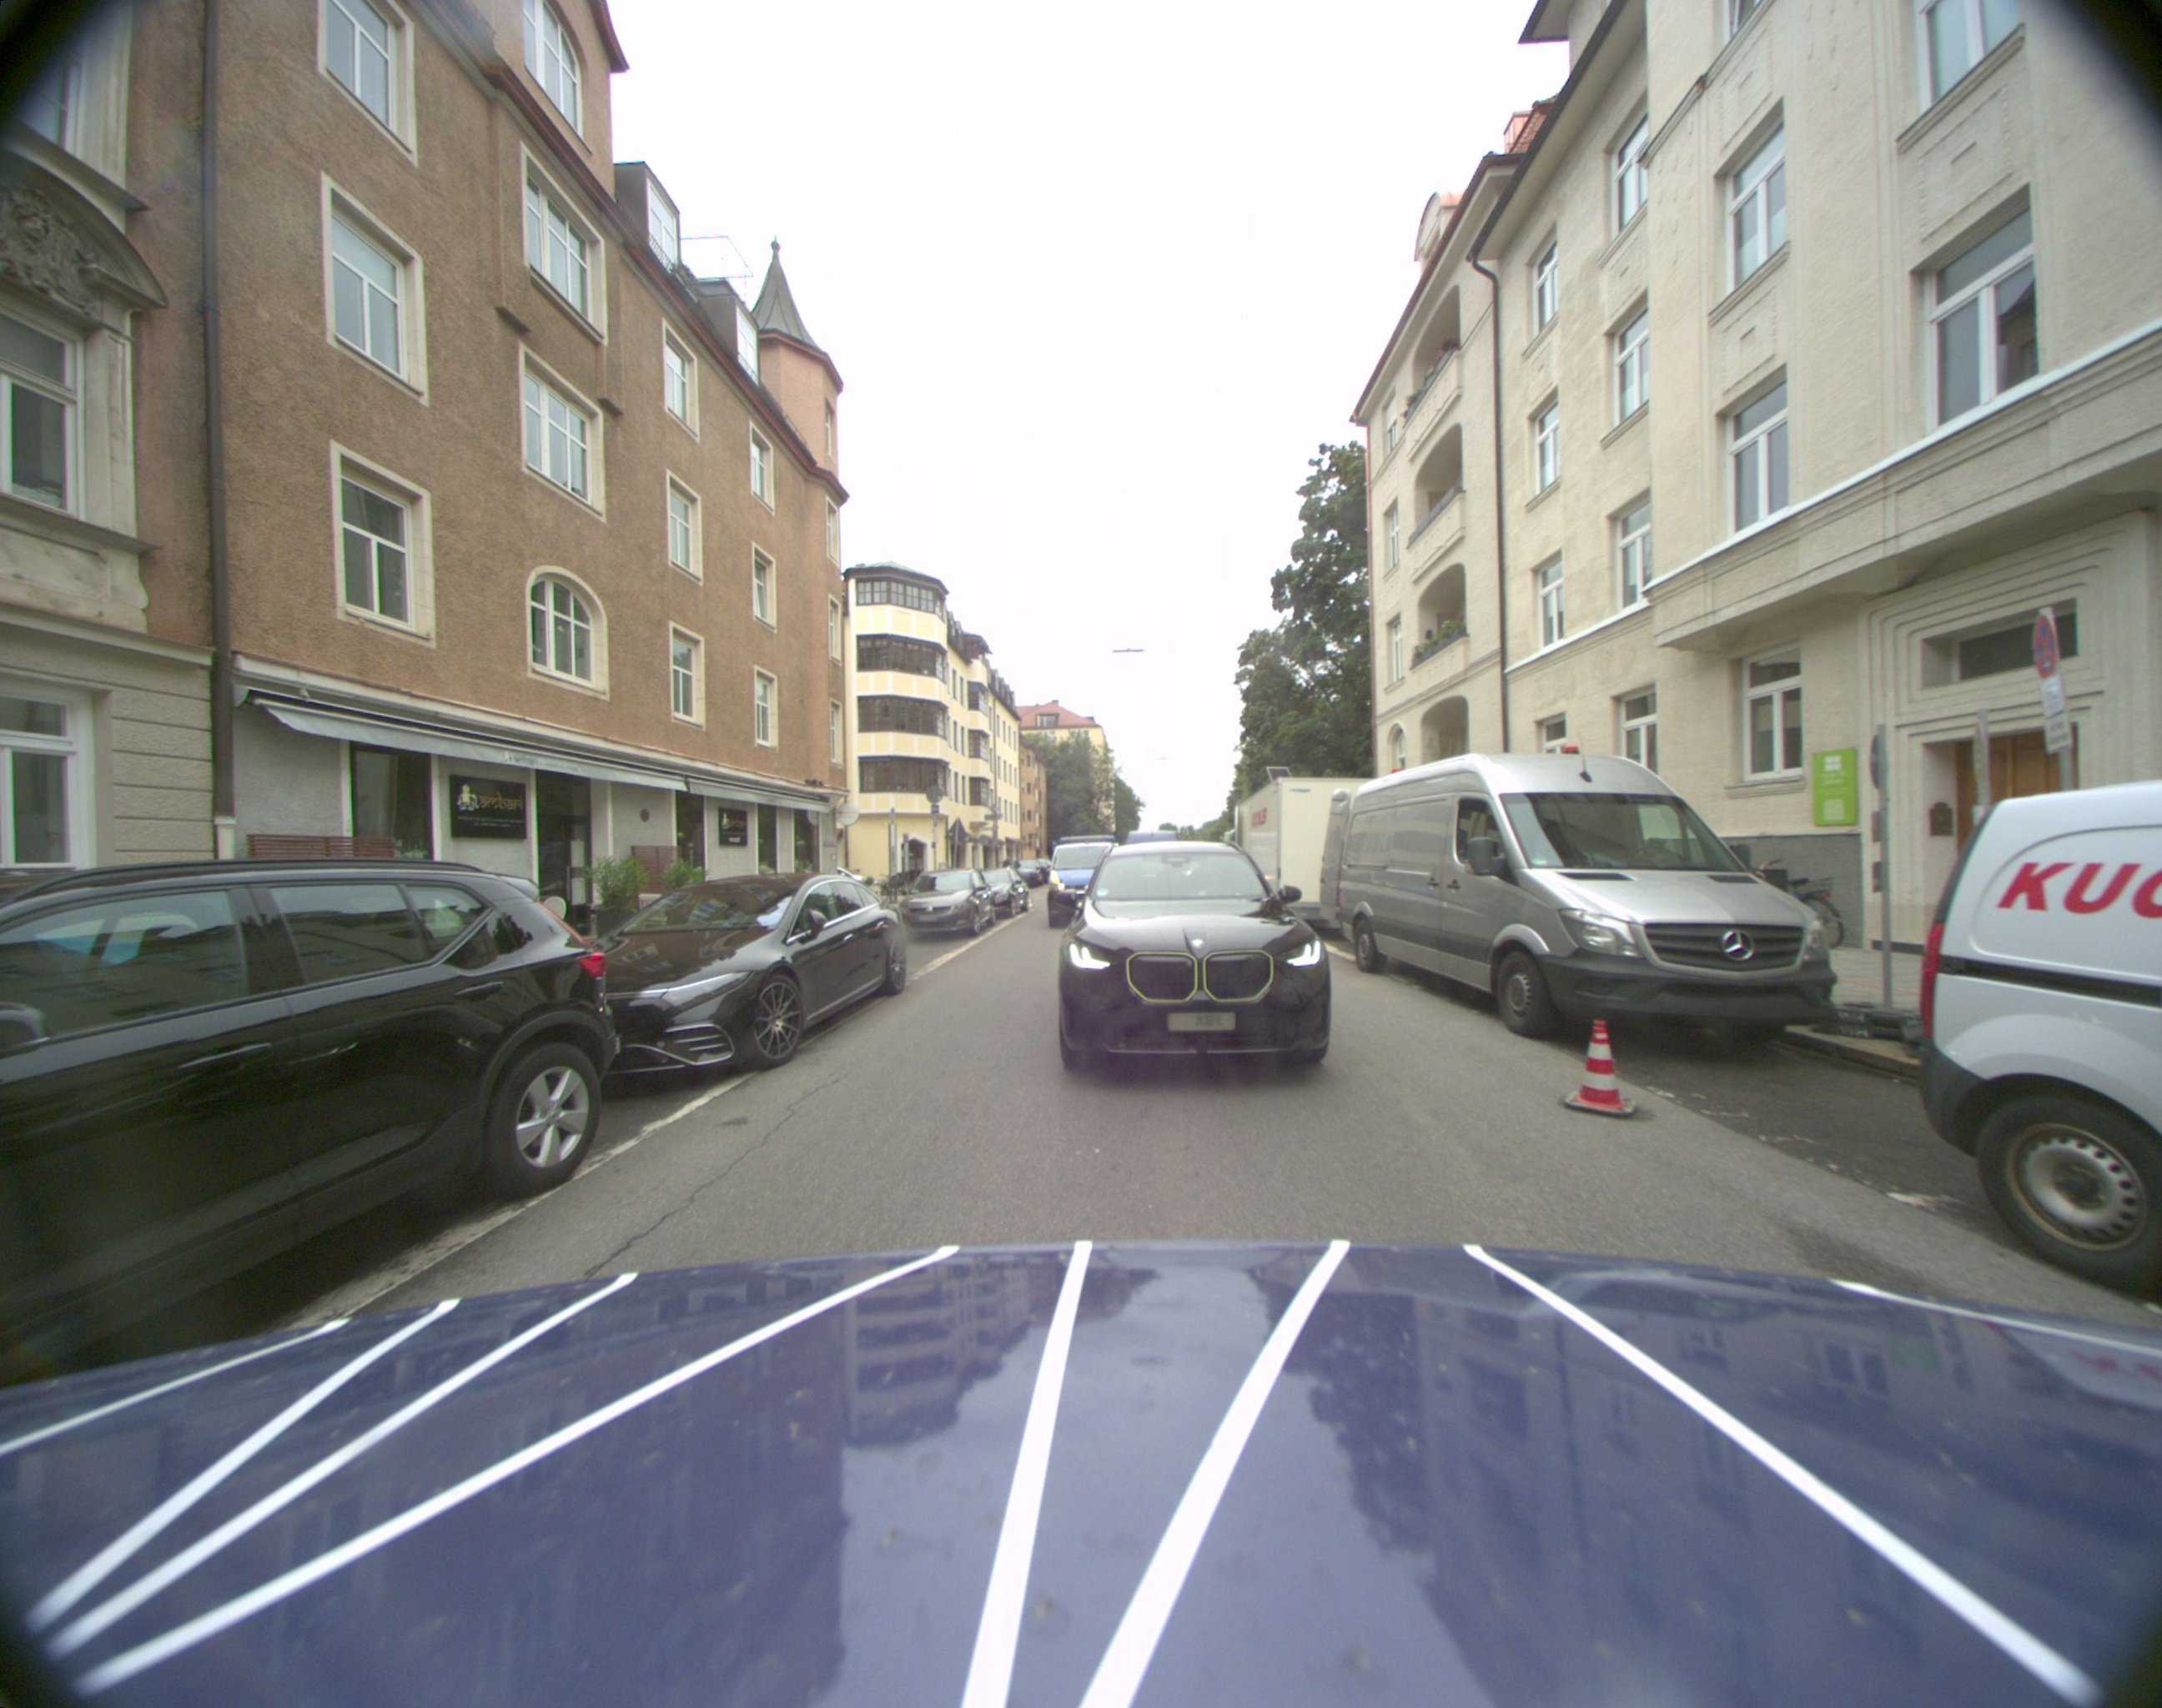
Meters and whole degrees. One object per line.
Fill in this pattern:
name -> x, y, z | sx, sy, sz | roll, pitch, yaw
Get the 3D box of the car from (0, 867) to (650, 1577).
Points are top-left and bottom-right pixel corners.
car -> -3.525, 0.994, 2.192 | 1.697, 1.667, 4.408 | -4, 0, 4

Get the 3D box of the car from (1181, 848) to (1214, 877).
car -> 7.187, 0.503, 47.219 | 1.816, 1.580, 4.166 | 3, 1, 7

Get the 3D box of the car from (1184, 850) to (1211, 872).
car -> 8.590, 0.508, 55.992 | 1.816, 1.455, 4.166 | 3, 1, 8

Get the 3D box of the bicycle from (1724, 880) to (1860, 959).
bicycle -> 9.944, 0.883, 10.711 | 0.416, 0.909, 1.757 | -4, 0, 8

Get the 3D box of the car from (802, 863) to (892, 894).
car -> -11.219, 1.203, 36.612 | 3.741, 1.431, 1.753 | -1, -2, 7

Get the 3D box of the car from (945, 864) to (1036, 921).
car -> -2.545, 1.064, 22.590 | 1.851, 1.397, 4.789 | -2, 0, 3

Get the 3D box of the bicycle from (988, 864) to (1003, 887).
bicycle -> -4.730, 1.180, 42.043 | 0.430, 1.152, 2.053 | 0, 1, 5

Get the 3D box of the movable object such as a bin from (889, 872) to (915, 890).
movable object such as a bin -> -8.996, 1.358, 38.222 | 1.125, 0.895, 0.684 | -1, 1, 4

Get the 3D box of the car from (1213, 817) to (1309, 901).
car -> 6.153, 0.164, 26.905 | 2.146, 2.557, 6.796 | -2, 0, 3

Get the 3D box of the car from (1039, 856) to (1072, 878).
car -> -1.858, 0.960, 56.305 | 1.763, 1.514, 3.934 | 1, 1, 8

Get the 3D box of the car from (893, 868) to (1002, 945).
car -> -2.869, 1.087, 17.185 | 1.576, 1.386, 4.183 | -1, 1, 2

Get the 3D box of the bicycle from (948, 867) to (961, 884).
bicycle -> -7.373, 1.250, 44.319 | 0.262, 0.897, 1.696 | 3, 1, 6

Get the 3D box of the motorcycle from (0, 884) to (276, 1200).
motorcycle -> -5.722, 0.955, 3.920 | 0.873, 1.496, 1.998 | -2, 0, 5

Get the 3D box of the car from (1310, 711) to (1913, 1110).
car -> 4.569, 0.373, 8.524 | 2.060, 2.572, 6.877 | 3, 0, 2

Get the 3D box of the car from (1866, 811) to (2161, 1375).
car -> 4.193, 0.760, 1.114 | 1.767, 1.768, 4.327 | 0, 0, 4

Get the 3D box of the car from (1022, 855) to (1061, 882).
car -> -2.606, 0.939, 51.229 | 1.817, 1.580, 4.166 | 3, 1, 7

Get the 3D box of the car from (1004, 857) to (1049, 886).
car -> -3.233, 1.007, 46.016 | 2.111, 1.613, 4.497 | -1, 0, 4

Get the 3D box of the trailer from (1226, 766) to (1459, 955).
trailer -> 4.907, 0.133, 16.015 | 2.809, 2.951, 7.603 | 2, 0, 5

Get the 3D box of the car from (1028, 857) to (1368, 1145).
car -> 0.794, 0.857, 6.502 | 1.921, 1.556, 4.294 | -1, 1, 3

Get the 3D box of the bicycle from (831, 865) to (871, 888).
bicycle -> -12.131, 1.205, 40.066 | 1.904, 1.180, 0.515 | -1, 0, 4

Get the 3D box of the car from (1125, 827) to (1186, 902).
car -> 2.738, 0.307, 28.809 | 2.005, 2.477, 6.233 | -2, 1, 4

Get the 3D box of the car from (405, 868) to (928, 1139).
car -> -3.188, 1.003, 7.601 | 1.935, 1.544, 5.637 | -2, 0, 2

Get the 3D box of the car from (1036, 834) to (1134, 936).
car -> 0.279, 0.663, 18.914 | 1.826, 2.086, 5.635 | -3, 0, 6

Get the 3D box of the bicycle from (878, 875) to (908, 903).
bicycle -> -6.902, 1.270, 27.996 | 0.496, 0.999, 1.804 | 1, -1, 6

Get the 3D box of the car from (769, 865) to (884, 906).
car -> -10.141, 1.228, 30.434 | 3.881, 1.479, 1.893 | -1, 1, 4
